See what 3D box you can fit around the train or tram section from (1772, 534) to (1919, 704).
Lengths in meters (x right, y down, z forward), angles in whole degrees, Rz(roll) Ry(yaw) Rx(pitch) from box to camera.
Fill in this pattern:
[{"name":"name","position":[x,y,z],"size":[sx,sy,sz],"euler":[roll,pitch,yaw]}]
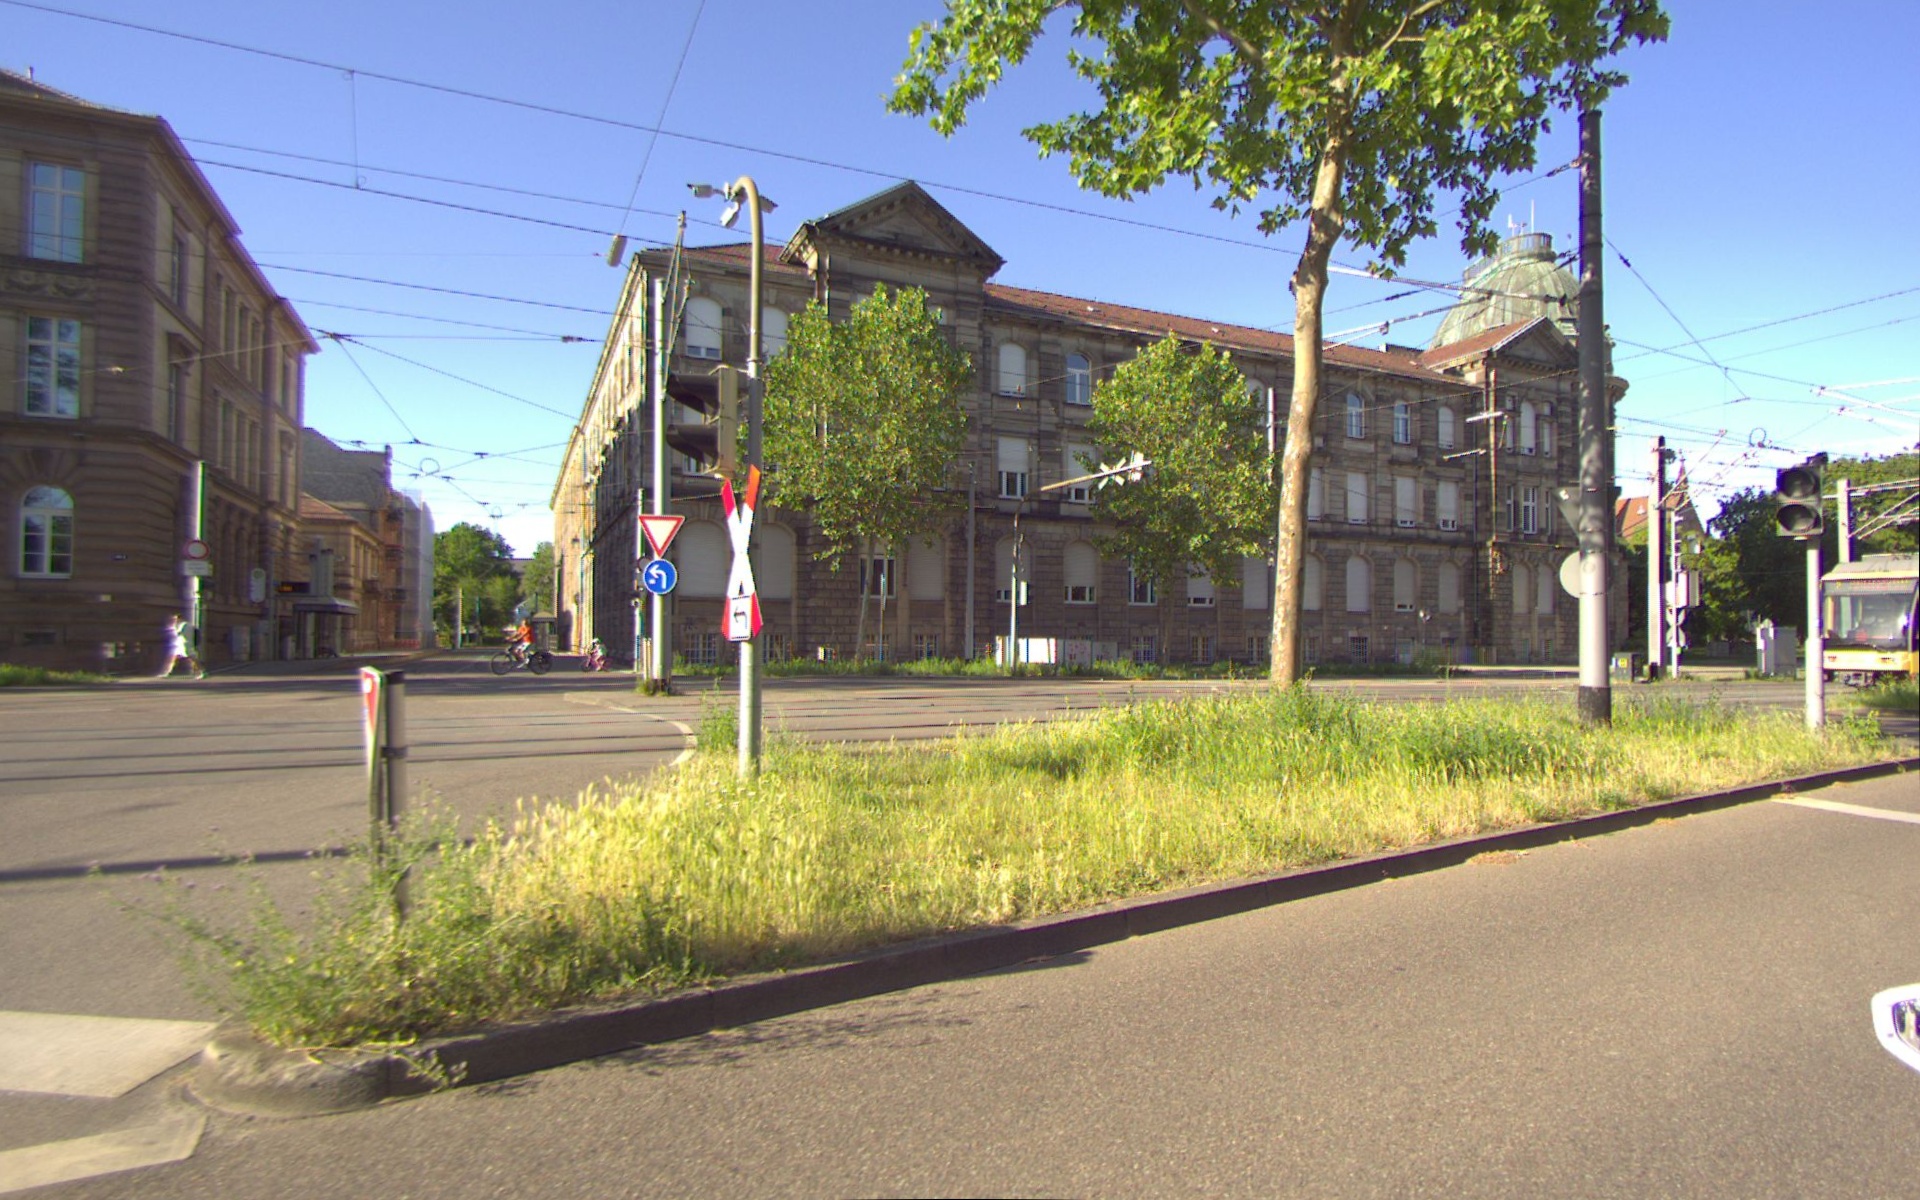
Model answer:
[{"name":"train or tram section","position":[27.367,0.658,27.369],"size":[14.097,3.862,2.916],"euler":[2,0,-28]}]

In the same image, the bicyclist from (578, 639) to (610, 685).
[{"name":"bicyclist","position":[-12.373,2.097,33.966],"size":[0.715,1.481,0.797],"euler":[2,0,3]}]

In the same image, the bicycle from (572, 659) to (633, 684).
[{"name":"bicycle","position":[-12.095,2.421,33.976],"size":[1.863,0.732,0.526],"euler":[2,0,3]}]

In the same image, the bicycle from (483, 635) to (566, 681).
[{"name":"bicycle","position":[-13.812,1.827,31.886],"size":[2.326,1.408,0.522],"euler":[2,0,-33]}]

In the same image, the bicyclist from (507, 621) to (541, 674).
[{"name":"bicyclist","position":[-13.830,1.493,31.873],"size":[0.862,1.645,0.669],"euler":[2,-1,-35]}]

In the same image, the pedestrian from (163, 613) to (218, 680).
[{"name":"pedestrian","position":[-21.464,1.291,28.051],"size":[0.988,1.824,0.860],"euler":[2,0,-24]}]
